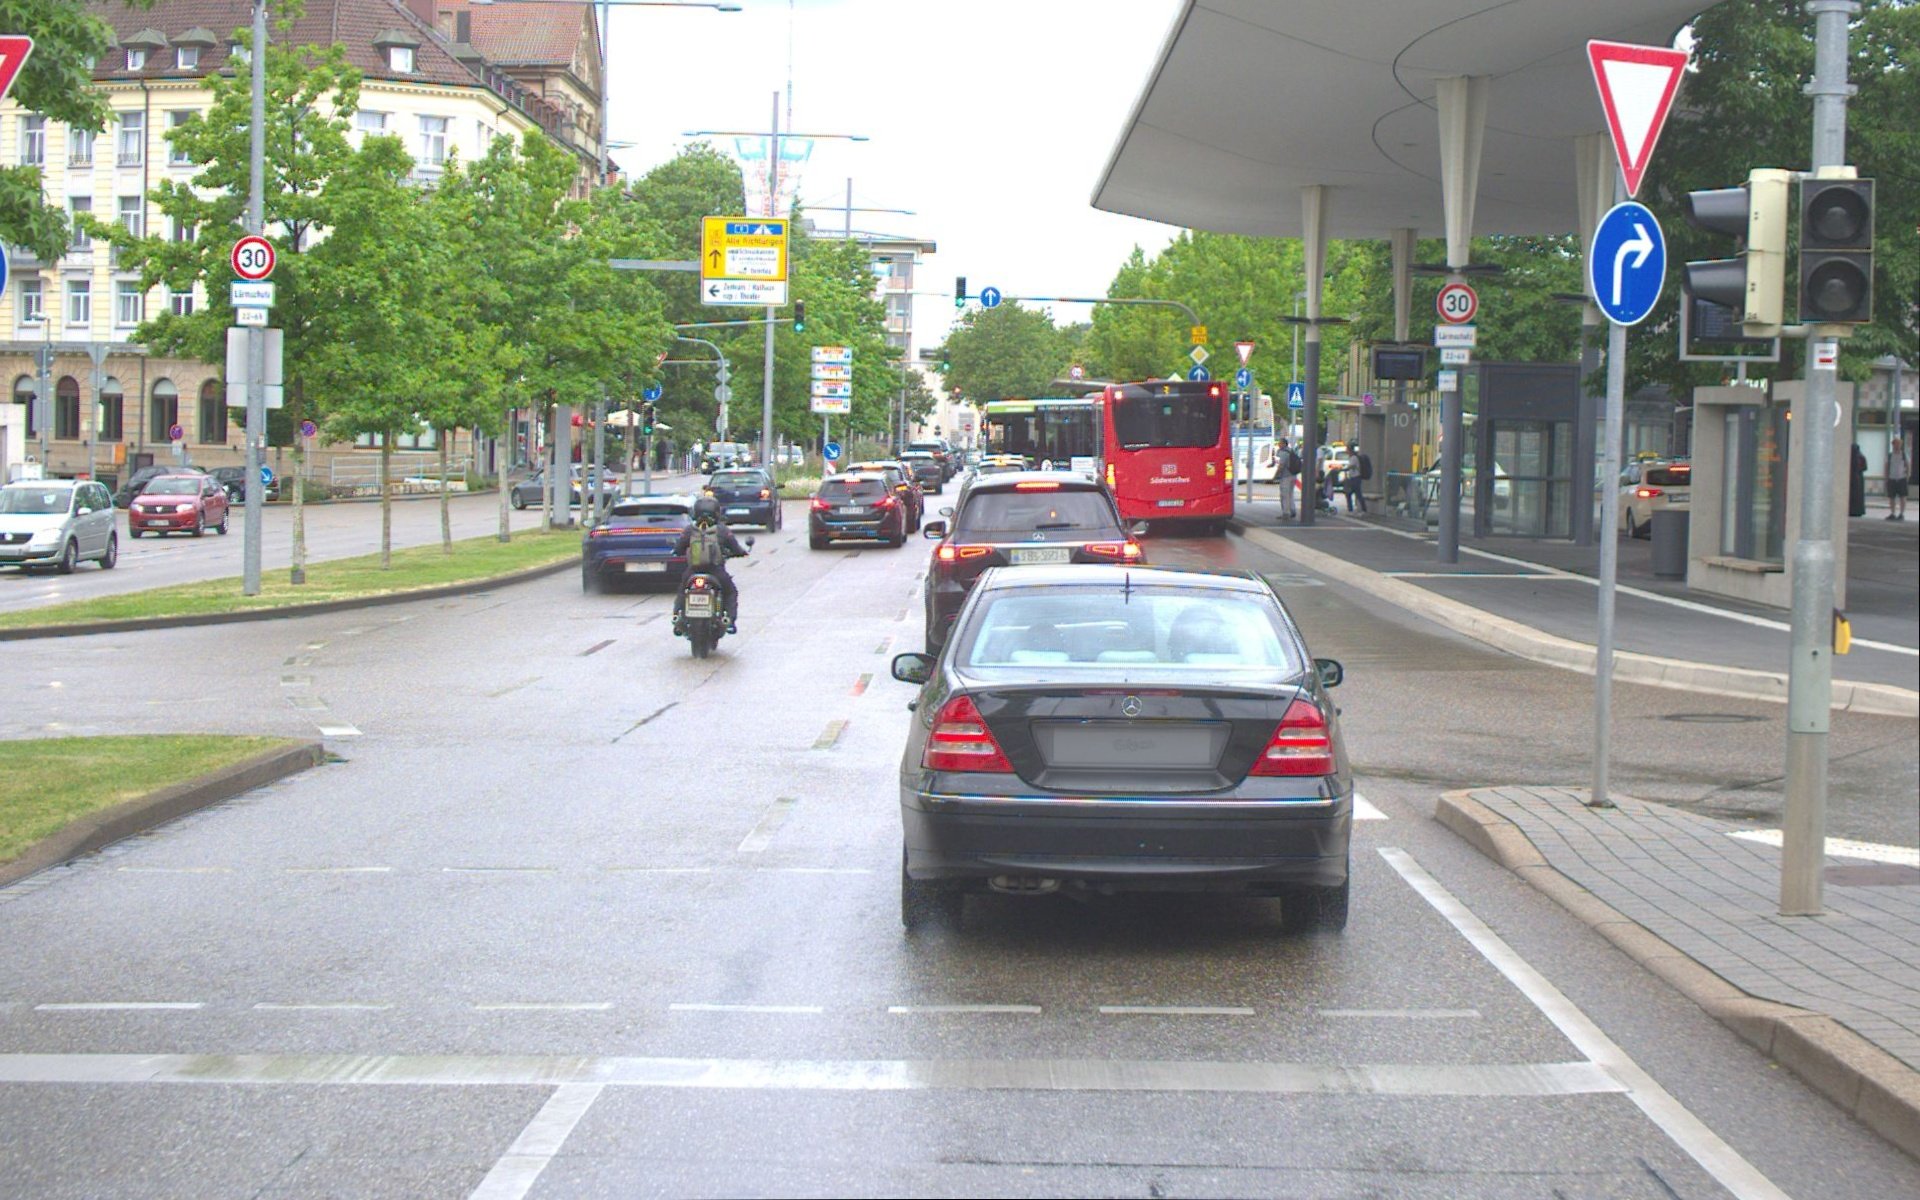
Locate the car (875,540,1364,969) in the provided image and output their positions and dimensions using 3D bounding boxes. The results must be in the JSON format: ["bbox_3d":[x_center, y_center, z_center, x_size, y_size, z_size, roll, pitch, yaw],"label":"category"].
[{"bbox_3d":[0.529,0.500,14.098,1.697,1.457,4.304,0,1,-1],"label":"car"}]

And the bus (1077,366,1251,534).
[{"bbox_3d":[4.180,-3.201,72.803,3.286,3.280,10.879,0,3,1],"label":"bus"}]

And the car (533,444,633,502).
[{"bbox_3d":[-11.851,-3.966,107.877,1.865,1.678,4.001,4,0,-24],"label":"car"}]

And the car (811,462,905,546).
[{"bbox_3d":[-1.961,-1.891,67.053,1.575,1.499,3.871,-1,3,1],"label":"car"}]

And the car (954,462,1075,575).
[{"bbox_3d":[0.819,-1.272,52.391,1.741,1.561,3.871,-2,3,1],"label":"car"}]

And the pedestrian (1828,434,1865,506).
[{"bbox_3d":[20.071,-2.940,77.855,0.580,1.573,0.560,4,-1,30],"label":"pedestrian"}]

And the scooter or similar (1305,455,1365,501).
[{"bbox_3d":[8.517,-2.774,78.154,1.244,1.009,0.764,1,2,15],"label":"scooter or similar"}]

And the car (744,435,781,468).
[{"bbox_3d":[-9.845,-7.393,171.351,1.575,1.561,3.430,-2,3,1],"label":"car"}]

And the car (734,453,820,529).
[{"bbox_3d":[-4.139,-2.496,78.132,1.676,1.617,3.871,-2,3,1],"label":"car"}]

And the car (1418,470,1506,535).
[{"bbox_3d":[13.692,-2.683,93.905,1.712,1.656,4.240,1,3,0],"label":"car"}]

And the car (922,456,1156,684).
[{"bbox_3d":[0.704,-0.356,31.893,1.957,1.869,4.874,-2,3,1],"label":"car"}]

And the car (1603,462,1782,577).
[{"bbox_3d":[9.915,-1.120,46.728,1.647,1.448,3.238,1,3,-1],"label":"car"}]

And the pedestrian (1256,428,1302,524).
[{"bbox_3d":[6.893,-2.691,74.270,0.778,2.006,0.781,4,4,13],"label":"pedestrian"}]

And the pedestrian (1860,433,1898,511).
[{"bbox_3d":[20.855,-2.903,78.014,0.580,1.710,0.560,3,-1,36],"label":"pedestrian"}]

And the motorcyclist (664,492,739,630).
[{"bbox_3d":[-2.564,-0.396,34.137,0.641,1.342,0.689,0,3,4],"label":"motorcyclist"}]

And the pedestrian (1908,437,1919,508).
[{"bbox_3d":[22.016,-2.885,78.229,0.580,1.573,0.560,3,-1,36],"label":"pedestrian"}]

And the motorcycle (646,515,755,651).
[{"bbox_3d":[-2.559,-0.184,34.058,0.793,1.257,1.855,-1,3,4],"label":"motorcycle"}]

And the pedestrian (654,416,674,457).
[{"bbox_3d":[-14.373,-7.936,166.910,0.724,1.959,0.826,-1,3,-26],"label":"pedestrian"}]

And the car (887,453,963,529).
[{"bbox_3d":[-0.751,-2.420,75.808,1.575,1.561,3.871,-2,3,1],"label":"car"}]

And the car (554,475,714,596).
[{"bbox_3d":[-4.682,-0.972,49.941,1.816,1.565,4.404,-2,3,1],"label":"car"}]

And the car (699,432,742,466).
[{"bbox_3d":[-11.490,-7.245,165.175,1.780,1.561,3.430,-2,3,1],"label":"car"}]

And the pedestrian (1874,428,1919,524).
[{"bbox_3d":[20.309,-2.693,74.520,0.724,2.007,0.669,4,-1,27],"label":"pedestrian"}]

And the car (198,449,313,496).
[{"bbox_3d":[-24.804,-4.487,121.011,3.762,1.555,1.730,2,1,30],"label":"car"}]

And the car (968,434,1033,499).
[{"bbox_3d":[1.027,-3.418,87.666,1.575,1.561,3.871,-2,3,1],"label":"car"}]

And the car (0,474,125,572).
[{"bbox_3d":[-16.330,-1.395,61.120,1.847,1.647,4.420,1,2,0],"label":"car"}]

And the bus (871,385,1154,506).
[{"bbox_3d":[1.655,-5.304,118.313,2.838,3.974,11.861,-1,3,-38],"label":"bus"}]

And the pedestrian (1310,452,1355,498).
[{"bbox_3d":[8.459,-2.838,78.071,0.914,0.981,0.633,2,-2,15],"label":"pedestrian"}]

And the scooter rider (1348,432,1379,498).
[{"bbox_3d":[9.162,-3.057,77.994,0.592,1.484,0.764,1,2,14],"label":"scooter rider"}]

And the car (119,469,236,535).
[{"bbox_3d":[-19.032,-2.405,83.782,1.822,1.546,4.033,0,2,2],"label":"car"}]

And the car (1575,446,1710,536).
[{"bbox_3d":[13.308,-2.155,67.227,1.712,1.656,4.240,1,3,0],"label":"car"}]
